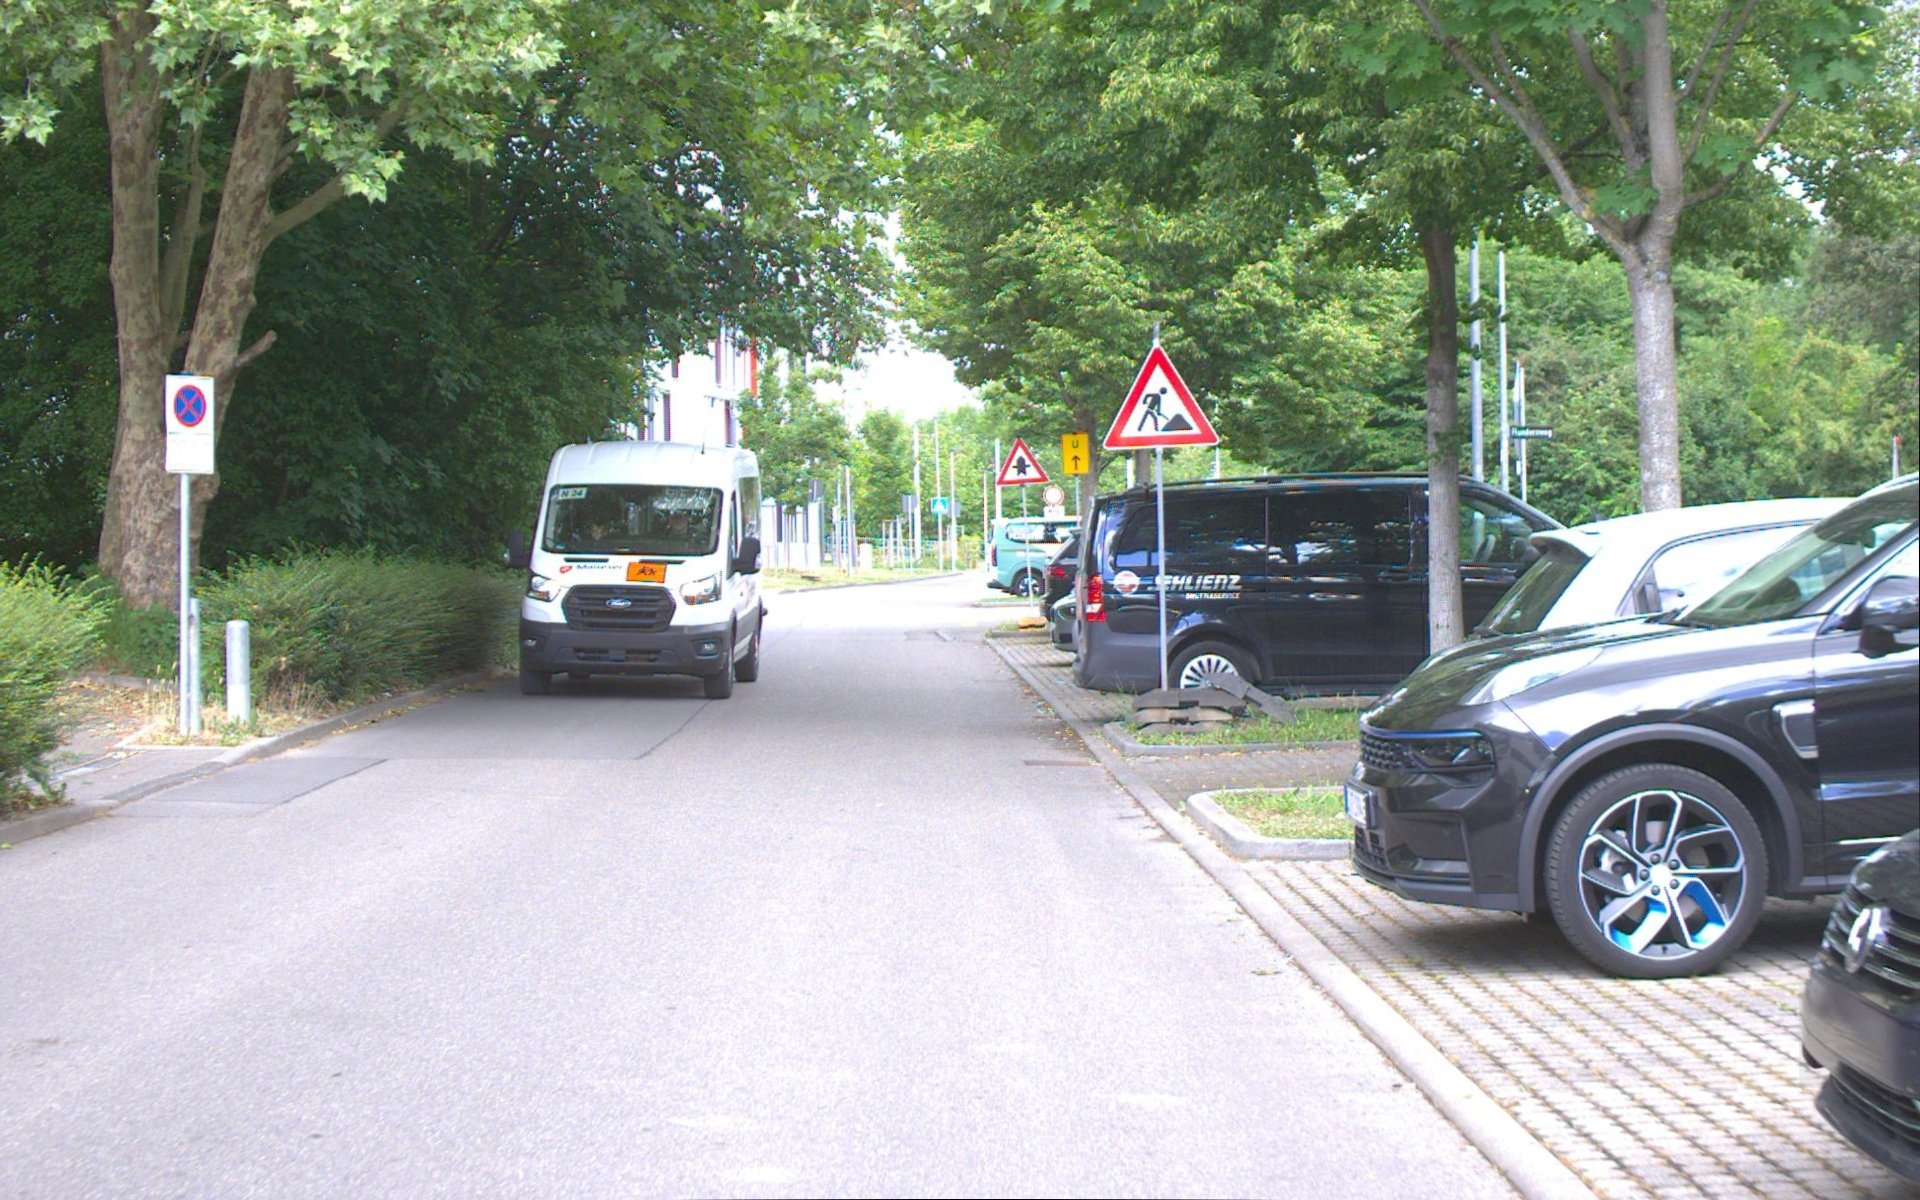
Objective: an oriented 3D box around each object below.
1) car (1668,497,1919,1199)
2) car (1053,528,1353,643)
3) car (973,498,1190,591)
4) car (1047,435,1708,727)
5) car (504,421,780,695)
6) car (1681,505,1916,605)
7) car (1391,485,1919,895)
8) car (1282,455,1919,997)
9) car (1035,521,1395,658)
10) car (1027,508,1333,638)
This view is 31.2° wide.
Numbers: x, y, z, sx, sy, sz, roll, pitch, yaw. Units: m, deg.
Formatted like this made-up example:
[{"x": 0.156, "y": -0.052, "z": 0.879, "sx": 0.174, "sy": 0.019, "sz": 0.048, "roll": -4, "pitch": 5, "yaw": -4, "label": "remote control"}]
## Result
[{"x": 3.964, "y": 0.482, "z": 6.919, "sx": 4.636, "sy": 1.512, "sz": 1.983, "roll": -2, "pitch": 2, "yaw": 1, "label": "car"}, {"x": 3.188, "y": -0.193, "z": 45.449, "sx": 3.832, "sy": 1.354, "sz": 1.822, "roll": -2, "pitch": 0, "yaw": 3, "label": "car"}, {"x": 2.828, "y": -1.301, "z": 80.824, "sx": 4.972, "sy": 1.965, "sz": 1.847, "roll": -2, "pitch": 1, "yaw": 0, "label": "car"}, {"x": 3.242, "y": -0.165, "z": 27.566, "sx": 4.954, "sy": 2.007, "sz": 2.166, "roll": -3, "pitch": 1, "yaw": 0, "label": "car"}, {"x": -3.058, "y": -0.447, "z": 34.416, "sx": 2.132, "sy": 2.467, "sz": 6.277, "roll": 1, "pitch": 1, "yaw": 0, "label": "car"}, {"x": 14.648, "y": -0.794, "z": 60.223, "sx": 3.780, "sy": 1.662, "sz": 1.767, "roll": -1, "pitch": 1, "yaw": 7, "label": "car"}, {"x": 3.680, "y": 0.314, "z": 14.722, "sx": 3.379, "sy": 1.569, "sz": 1.797, "roll": -2, "pitch": 2, "yaw": 0, "label": "car"}, {"x": 3.480, "y": 0.325, "z": 12.066, "sx": 4.415, "sy": 1.670, "sz": 2.082, "roll": -2, "pitch": 2, "yaw": -1, "label": "car"}, {"x": 2.940, "y": -0.123, "z": 40.238, "sx": 3.987, "sy": 1.425, "sz": 1.936, "roll": -2, "pitch": 0, "yaw": -1, "label": "car"}, {"x": 3.061, "y": -0.375, "z": 48.093, "sx": 4.124, "sy": 1.644, "sz": 1.980, "roll": -2, "pitch": 0, "yaw": 3, "label": "car"}]
